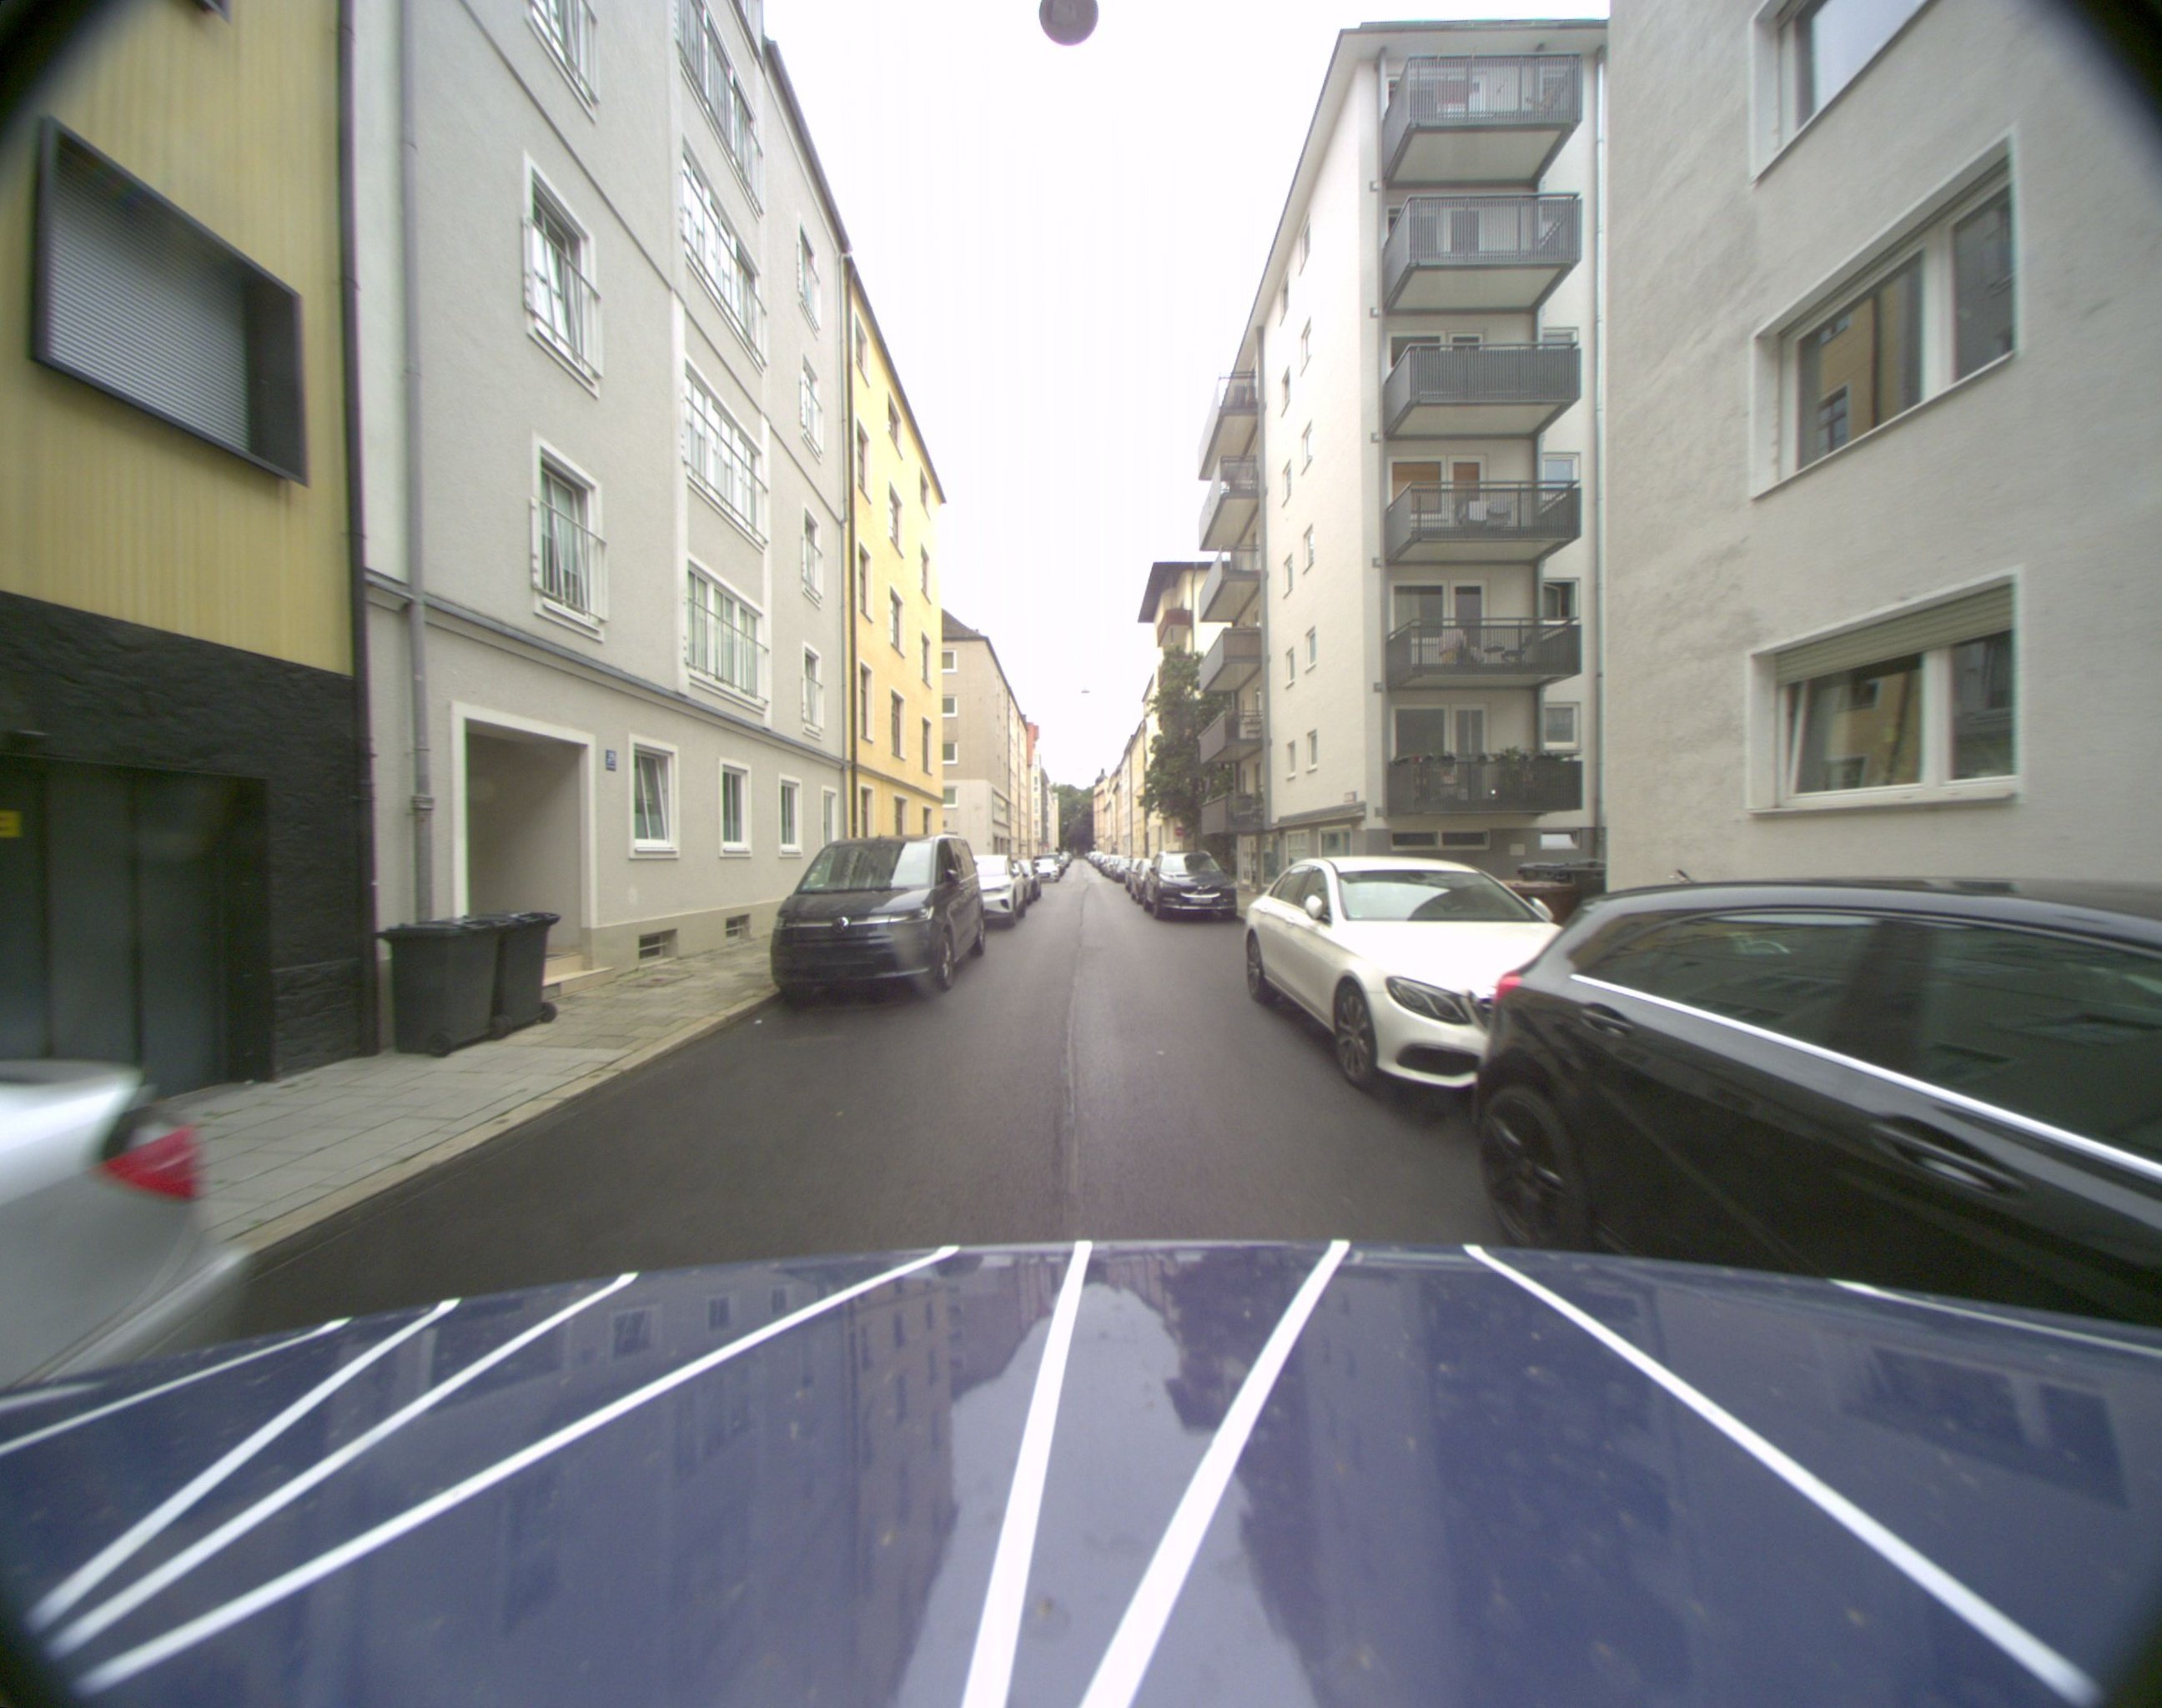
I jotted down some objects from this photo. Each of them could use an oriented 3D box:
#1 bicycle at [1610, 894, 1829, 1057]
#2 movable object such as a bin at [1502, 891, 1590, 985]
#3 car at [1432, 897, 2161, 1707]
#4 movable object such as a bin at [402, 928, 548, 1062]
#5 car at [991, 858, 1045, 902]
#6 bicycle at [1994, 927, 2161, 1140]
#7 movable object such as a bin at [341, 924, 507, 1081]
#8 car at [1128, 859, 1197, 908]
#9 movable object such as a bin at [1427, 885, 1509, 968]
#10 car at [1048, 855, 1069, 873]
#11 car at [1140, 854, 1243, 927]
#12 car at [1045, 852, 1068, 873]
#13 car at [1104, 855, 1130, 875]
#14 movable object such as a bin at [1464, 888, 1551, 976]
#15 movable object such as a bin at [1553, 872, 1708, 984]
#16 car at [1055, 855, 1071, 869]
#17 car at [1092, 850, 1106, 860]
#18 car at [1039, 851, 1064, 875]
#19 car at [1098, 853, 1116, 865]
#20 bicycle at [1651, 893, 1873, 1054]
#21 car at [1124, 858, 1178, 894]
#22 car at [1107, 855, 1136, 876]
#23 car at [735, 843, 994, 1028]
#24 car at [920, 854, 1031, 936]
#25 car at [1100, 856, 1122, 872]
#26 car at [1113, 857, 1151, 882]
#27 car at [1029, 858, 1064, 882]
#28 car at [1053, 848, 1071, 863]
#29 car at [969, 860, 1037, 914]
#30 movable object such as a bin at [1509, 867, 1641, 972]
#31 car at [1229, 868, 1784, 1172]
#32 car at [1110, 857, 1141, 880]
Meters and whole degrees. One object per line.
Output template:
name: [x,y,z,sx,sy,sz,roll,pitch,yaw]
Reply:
bicycle: [5.423,0.969,6.599,0.405,1.132,1.683,-1,1,-4]
movable object such as a bin: [5.658,1.003,9.277,0.692,1.070,0.604,-1,1,-5]
car: [2.482,0.915,1.206,1.805,1.408,4.225,-1,0,-2]
movable object such as a bin: [-5.235,1.199,6.595,0.797,1.048,0.546,-1,1,-1]
car: [-2.280,0.917,28.389,1.691,1.496,3.856,-1,0,0]
bicycle: [5.670,0.947,3.843,0.380,1.011,1.441,0,0,1]
movable object such as a bin: [-5.210,1.155,6.066,0.797,1.133,0.574,-1,1,-1]
car: [2.632,0.905,25.391,1.818,1.433,4.296,-1,0,0]
movable object such as a bin: [5.373,0.992,10.580,0.770,1.070,0.678,-1,1,-5]
car: [-2.135,0.942,73.644,1.896,1.621,4.296,-1,0,0]
car: [2.666,0.820,19.393,1.972,1.597,4.540,-1,0,0]
car: [-2.197,0.726,67.918,1.896,1.751,4.296,-1,0,0]
car: [2.880,0.854,61.181,1.896,1.444,4.296,-1,0,0]
movable object such as a bin: [5.541,0.994,9.905,0.770,1.070,0.635,-1,1,-5]
movable object such as a bin: [6.700,0.876,9.348,1.123,1.256,1.097,-1,1,1]
car: [-2.248,1.002,94.450,1.896,1.621,4.296,-1,0,0]
car: [2.703,0.198,114.369,1.896,1.444,4.296,-1,0,0]
car: [-2.391,0.713,63.113,1.896,1.859,4.296,-1,0,0]
car: [3.046,0.575,89.712,1.896,1.444,4.296,-1,0,0]
bicycle: [5.835,0.956,6.650,0.342,1.132,1.683,-1,1,-4]
car: [2.989,0.922,33.147,1.972,1.391,4.296,-1,0,0]
car: [2.937,0.837,55.603,1.896,1.444,4.296,-1,0,0]
car: [-2.528,0.831,10.431,1.987,1.828,5.183,-3,0,0]
car: [-2.348,0.863,18.083,1.966,1.664,4.541,-1,0,0]
car: [2.870,0.926,73.274,1.896,1.444,4.296,-1,0,0]
car: [2.953,0.879,44.639,1.972,1.369,4.296,-1,0,0]
car: [-2.139,0.981,48.124,1.972,1.369,4.296,-1,0,0]
car: [-2.120,0.112,85.795,1.896,1.621,4.296,-1,0,0]
car: [-2.369,0.959,23.894,1.691,1.496,3.856,-1,0,0]
movable object such as a bin: [6.755,0.866,10.464,1.114,1.346,1.104,-1,1,1]
car: [2.650,0.896,6.298,1.917,1.429,4.808,-1,0,0]
car: [2.903,0.931,50.170,1.769,1.369,4.296,-1,0,0]
